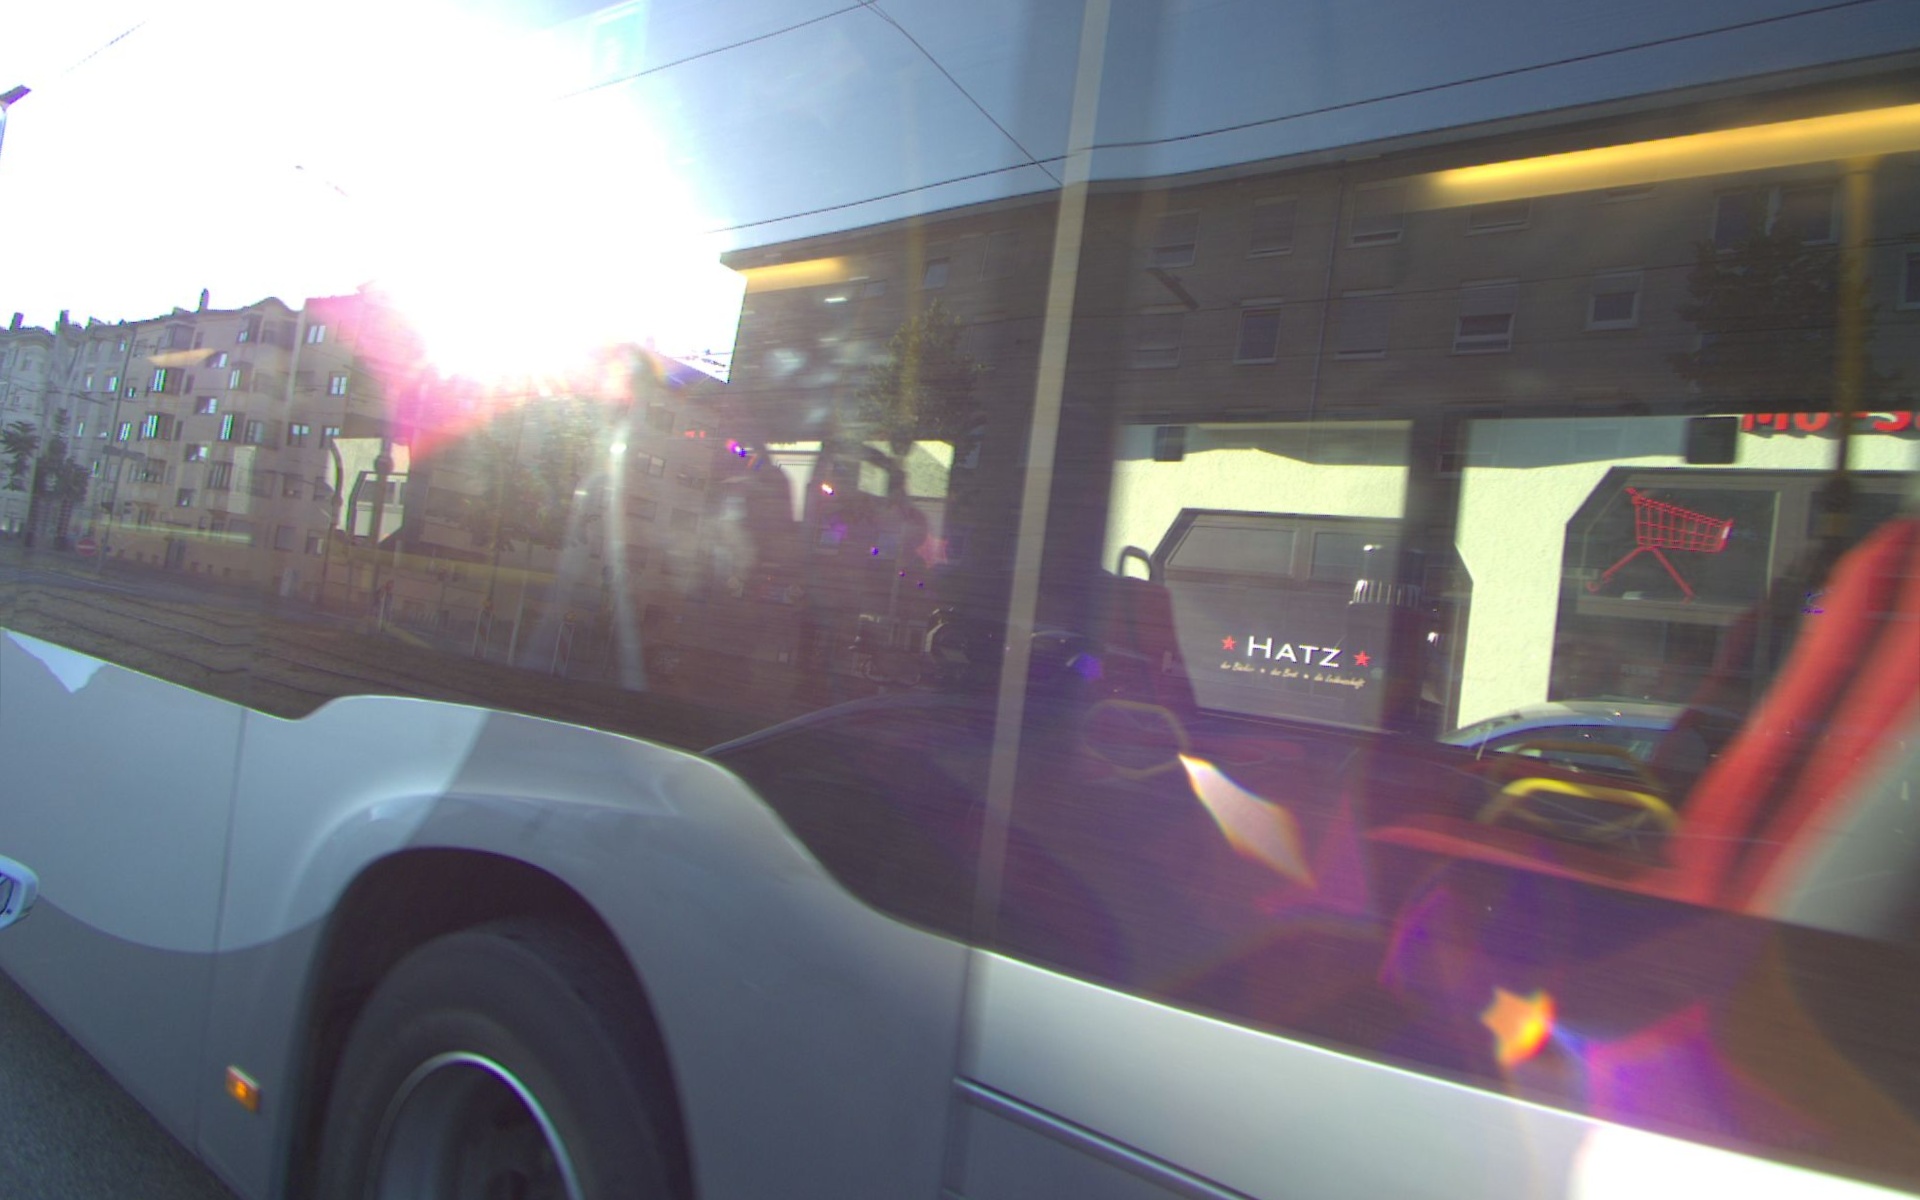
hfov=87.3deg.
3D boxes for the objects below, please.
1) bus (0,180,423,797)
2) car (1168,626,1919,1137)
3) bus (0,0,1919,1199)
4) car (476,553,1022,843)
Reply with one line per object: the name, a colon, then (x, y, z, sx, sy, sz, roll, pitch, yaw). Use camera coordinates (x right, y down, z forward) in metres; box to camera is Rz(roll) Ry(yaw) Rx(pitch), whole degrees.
bus: (-8.243, -0.856, 8.098, 8.984, 3.091, 2.742, 6, -2, 34)
car: (3.232, 1.159, 5.097, 3.725, 1.608, 1.839, 6, 0, 34)
bus: (-0.919, -0.093, 3.164, 8.711, 3.091, 2.742, 6, -2, 34)
car: (-1.821, 0.616, 8.150, 4.162, 1.556, 1.839, 6, 0, 34)
